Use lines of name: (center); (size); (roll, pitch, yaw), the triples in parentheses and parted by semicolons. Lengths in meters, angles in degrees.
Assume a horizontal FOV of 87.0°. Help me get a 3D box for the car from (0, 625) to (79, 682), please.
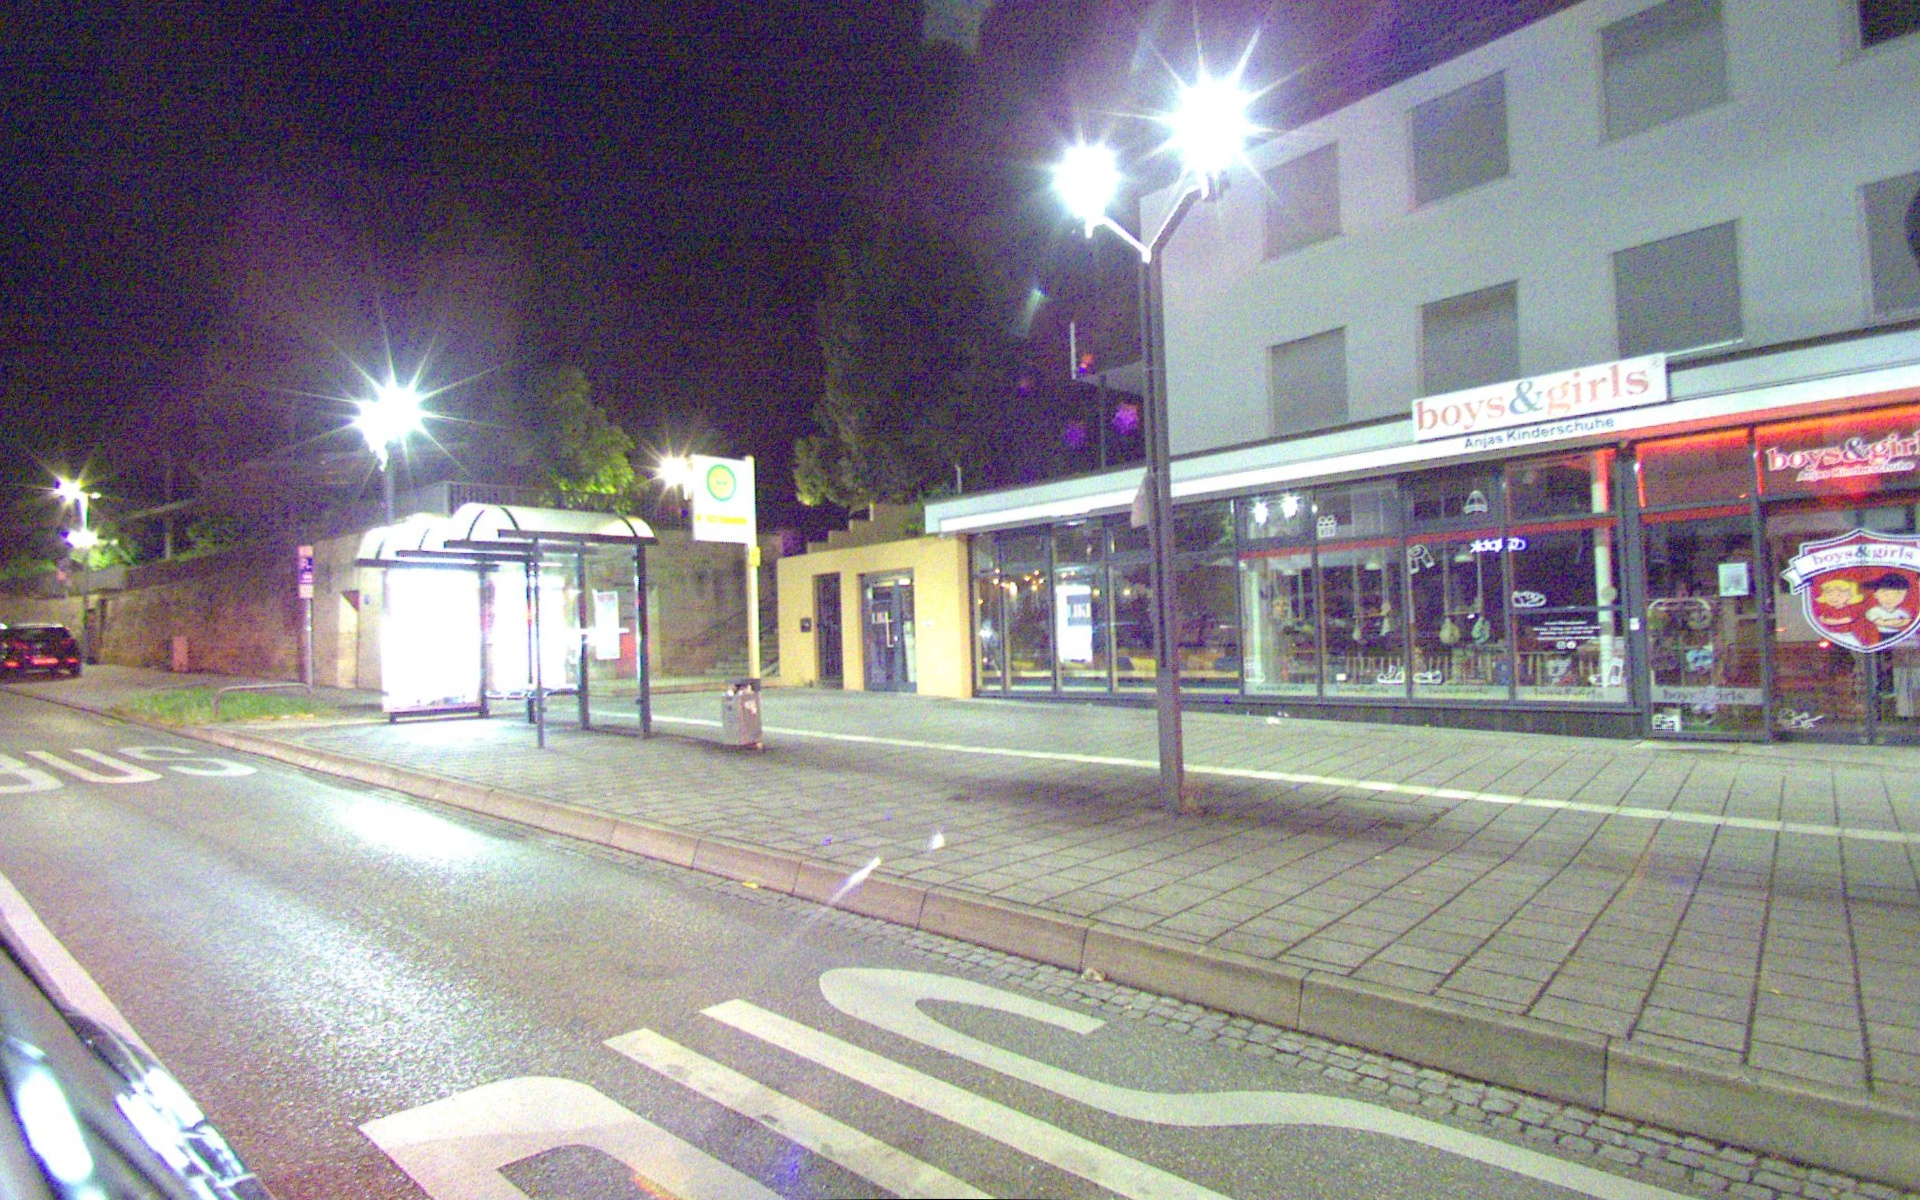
car: (-26.565, 1.474, 28.706); (4.123, 1.447, 1.675); (-1, 0, 39)
